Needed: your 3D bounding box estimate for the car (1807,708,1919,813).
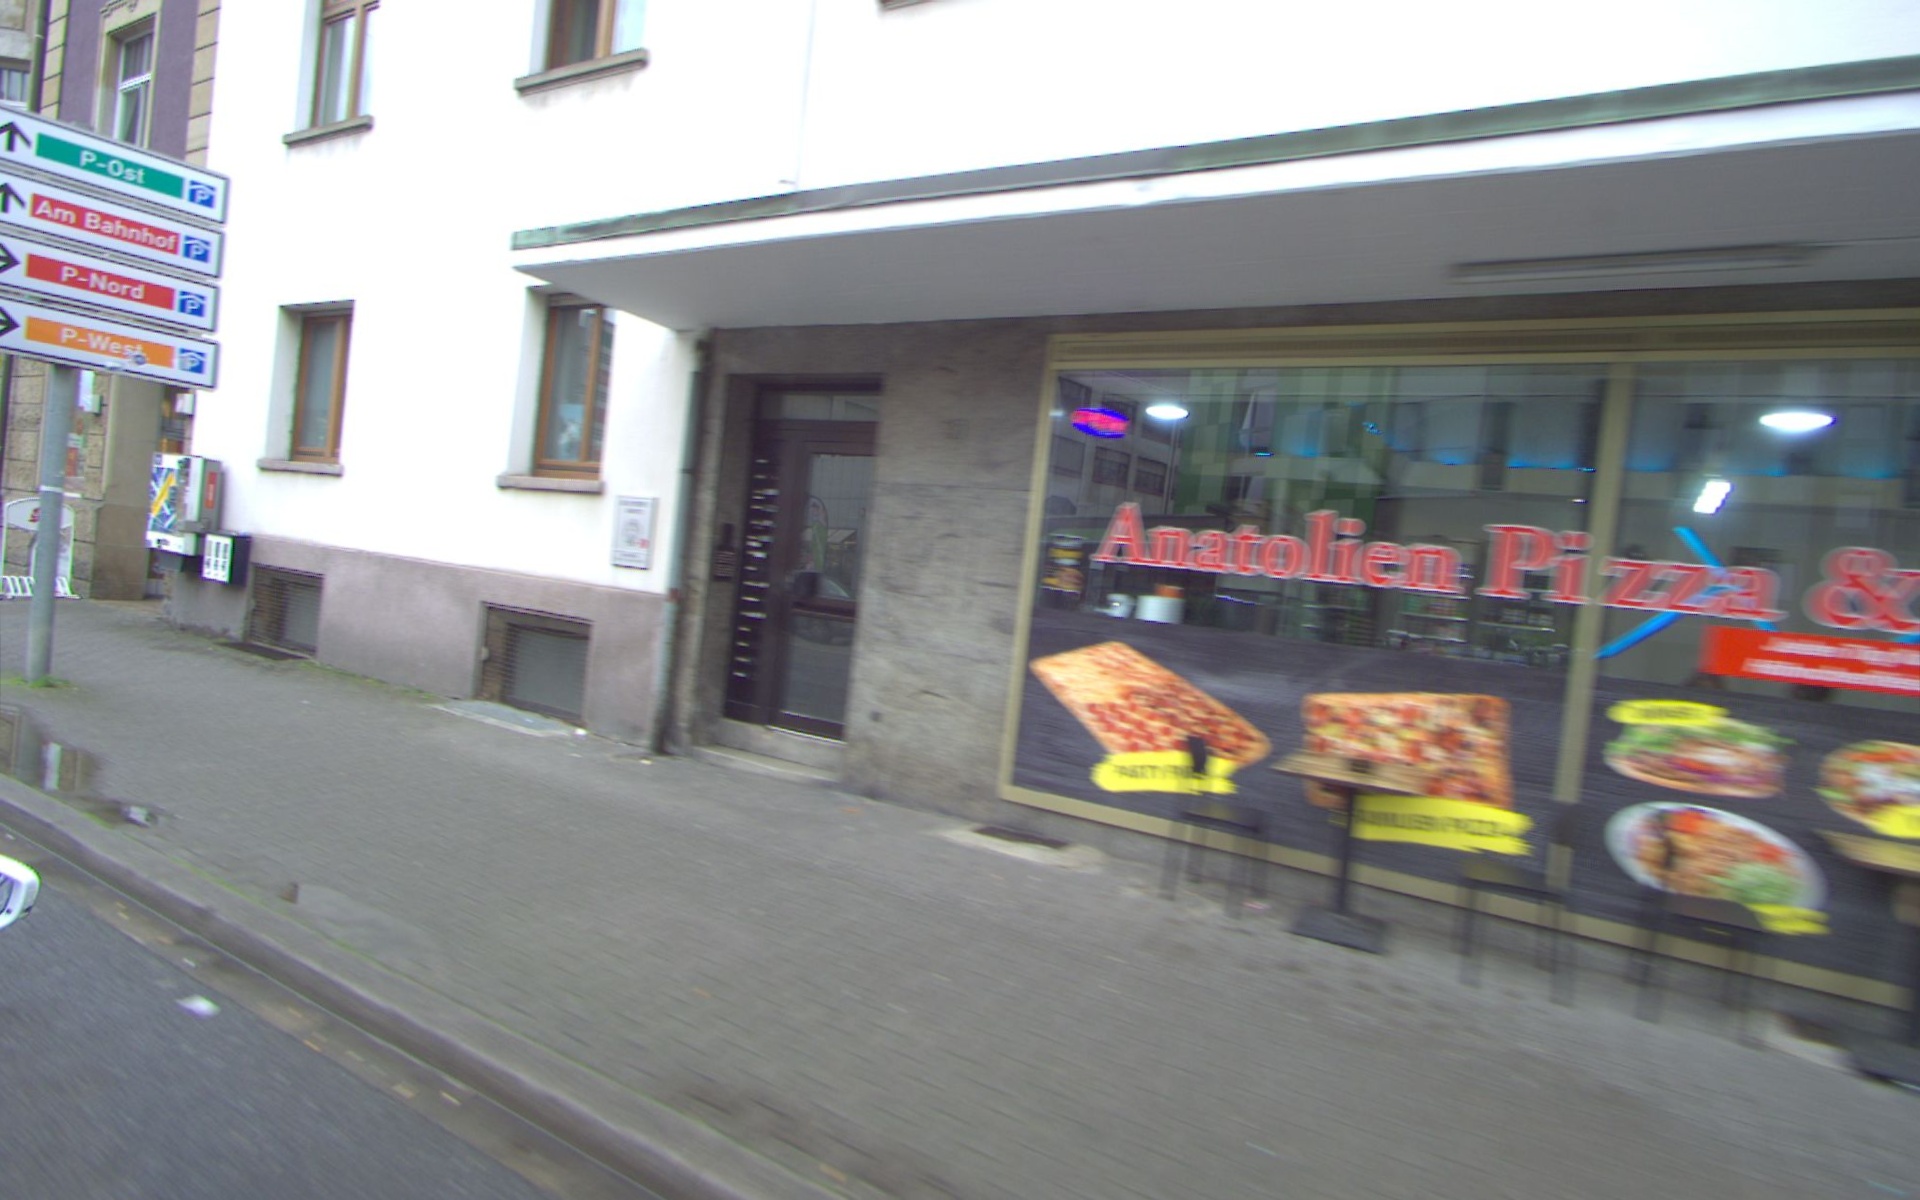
[{"bbox_3d":[17.559,2.974,18.489,1.875,1.598,3.900,6,-1,24],"label":"car"}]
